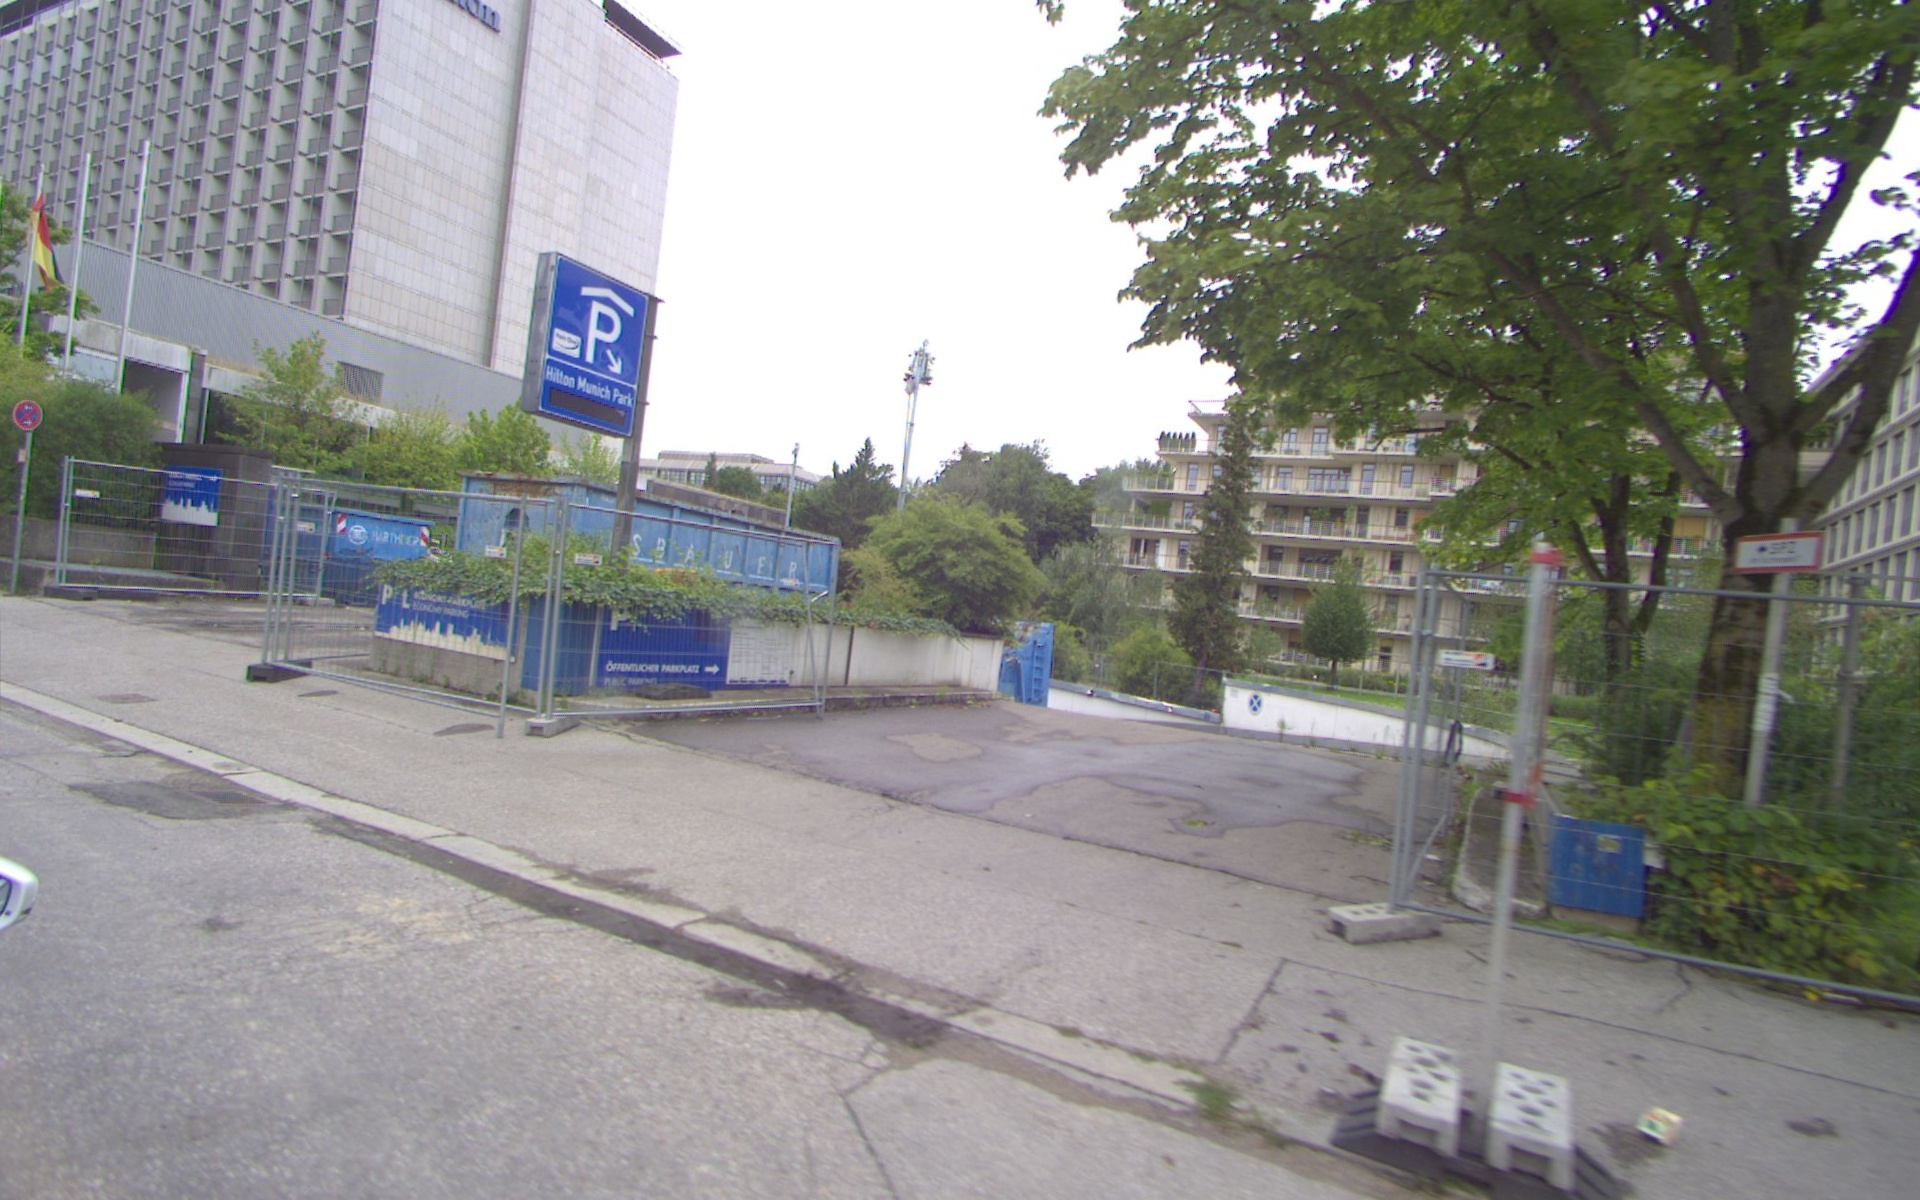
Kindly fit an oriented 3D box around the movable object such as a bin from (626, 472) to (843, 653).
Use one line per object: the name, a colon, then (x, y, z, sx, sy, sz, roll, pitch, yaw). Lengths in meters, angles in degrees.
movable object such as a bin: (-5.643, -0.867, 26.852, 3.820, 3.729, 7.174, 7, 0, 0)
